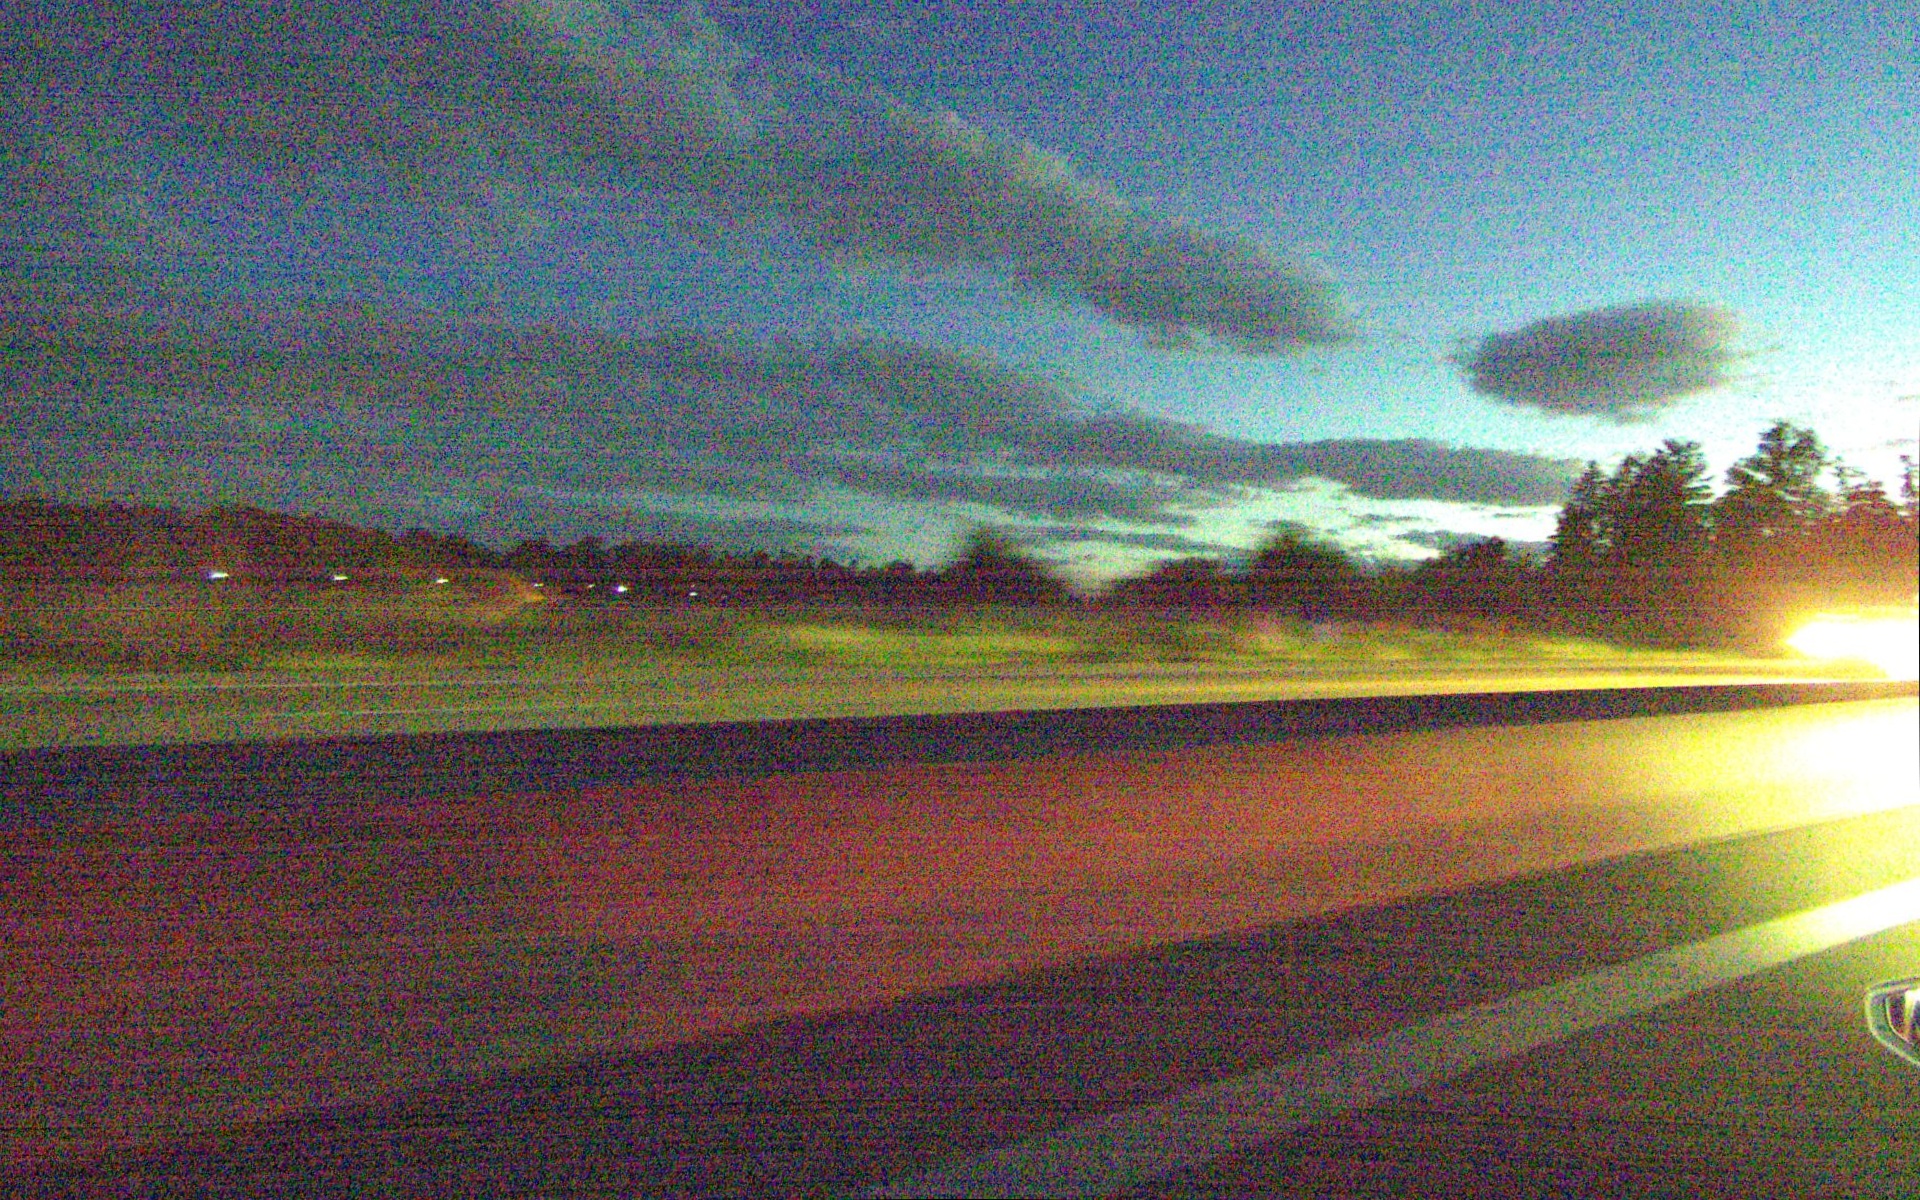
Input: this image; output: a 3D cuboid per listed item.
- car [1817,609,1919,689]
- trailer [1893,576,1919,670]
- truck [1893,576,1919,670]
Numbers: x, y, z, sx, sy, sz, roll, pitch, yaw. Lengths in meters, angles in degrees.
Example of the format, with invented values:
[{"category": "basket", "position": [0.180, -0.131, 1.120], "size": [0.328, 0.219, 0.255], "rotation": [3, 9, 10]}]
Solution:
[{"category": "car", "position": [29.273, 1.493, 31.044], "size": [6.884, 2.227, 2.043], "rotation": [2, 0, -30]}, {"category": "trailer", "position": [48.265, 1.258, 46.149], "size": [14.578, 4.060, 3.422], "rotation": [2, 0, -29]}, {"category": "truck", "position": [44.824, 1.124, 44.264], "size": [6.692, 4.060, 3.422], "rotation": [2, 0, -28]}]
